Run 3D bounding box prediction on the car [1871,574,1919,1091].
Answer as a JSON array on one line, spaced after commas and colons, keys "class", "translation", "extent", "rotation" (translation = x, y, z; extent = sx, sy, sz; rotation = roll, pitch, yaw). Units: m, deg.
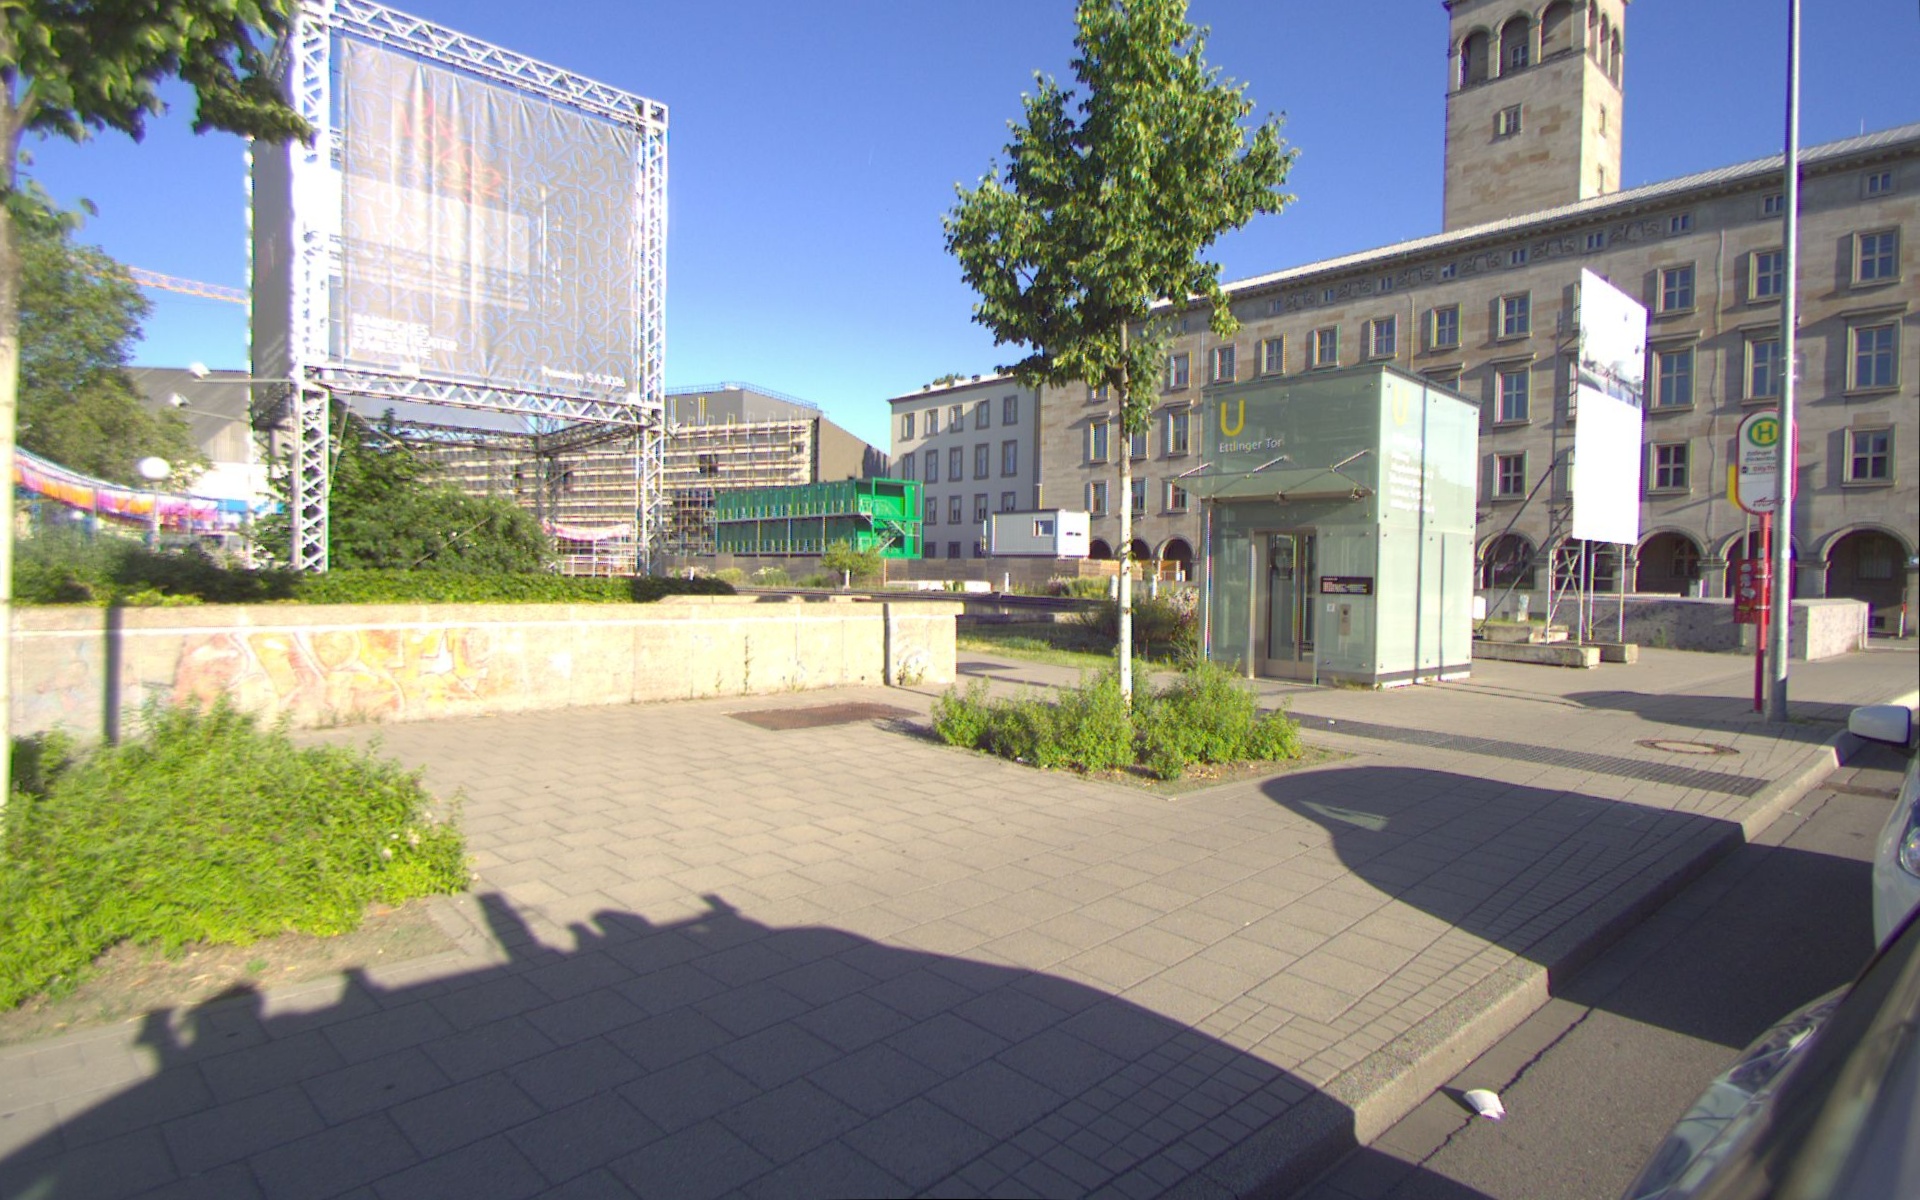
[{"class": "car", "translation": [4.655, 0.679, 3.668], "extent": [3.930, 1.473, 1.518], "rotation": [0, 2, -41]}]
